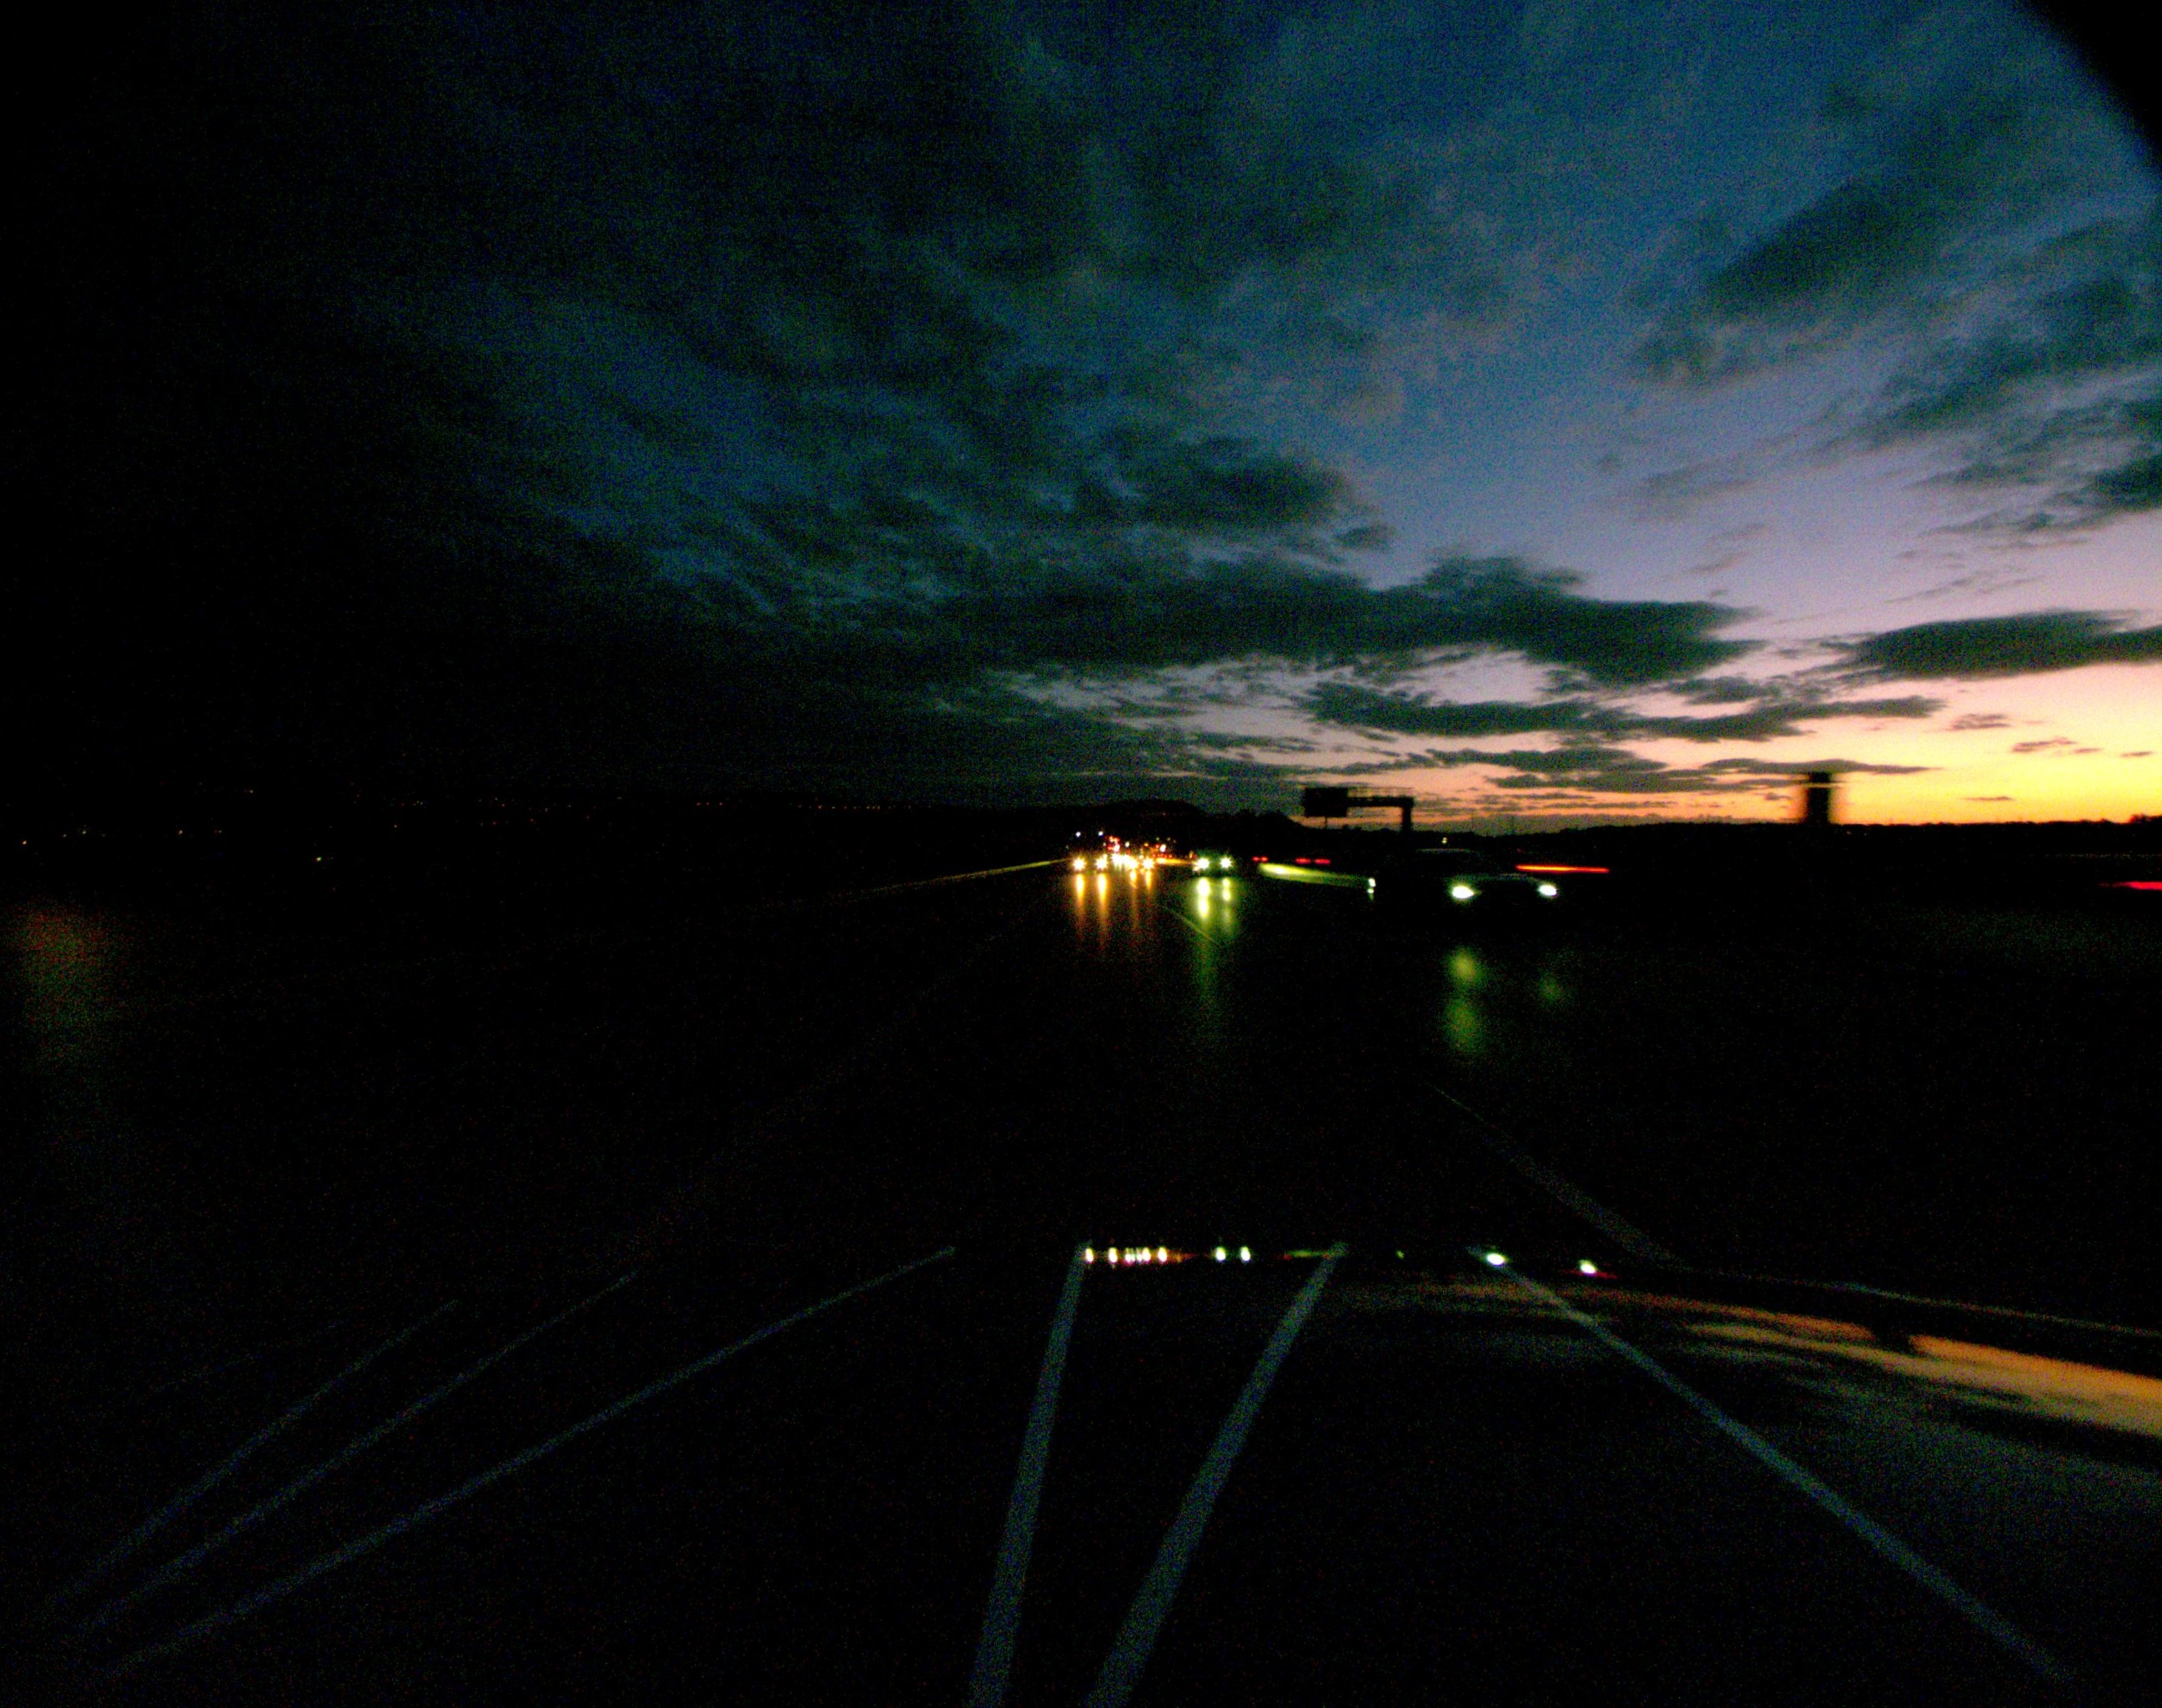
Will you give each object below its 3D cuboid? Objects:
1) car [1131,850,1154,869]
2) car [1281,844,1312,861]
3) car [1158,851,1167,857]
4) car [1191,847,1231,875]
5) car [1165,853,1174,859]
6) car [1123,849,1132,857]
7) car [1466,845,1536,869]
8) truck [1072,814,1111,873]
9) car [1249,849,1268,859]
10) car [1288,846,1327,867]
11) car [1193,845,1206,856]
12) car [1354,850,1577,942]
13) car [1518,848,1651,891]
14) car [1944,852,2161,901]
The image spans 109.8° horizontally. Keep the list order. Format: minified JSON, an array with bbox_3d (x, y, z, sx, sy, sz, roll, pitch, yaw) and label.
[{"bbox_3d":[5.472,0.477,68.191,1.802,1.531,4.159,-2,1,1],"label":"car"},{"bbox_3d":[20.791,-0.181,73.456,1.663,1.514,4.887,-2,1,1],"label":"car"},{"bbox_3d":[20.114,0.105,187.687,1.736,1.362,3.900,-2,1,1],"label":"car"},{"bbox_3d":[8.459,0.426,49.807,1.819,1.638,4.856,-2,1,1],"label":"car"},{"bbox_3d":[23.377,0.628,201.533,1.998,1.404,4.658,-2,1,1],"label":"car"},{"bbox_3d":[11.314,-0.257,185.485,1.862,1.826,4.000,-2,1,1],"label":"car"},{"bbox_3d":[23.051,0.138,41.827,1.670,1.174,3.999,-2,1,1],"label":"car"},{"bbox_3d":[0.967,-0.818,67.180,3.012,4.570,12.578,-2,0,1],"label":"truck"},{"bbox_3d":[25.528,0.052,109.132,1.740,1.312,4.551,-2,1,1],"label":"car"},{"bbox_3d":[16.823,0.142,56.592,1.649,1.445,3.999,-2,1,1],"label":"car"},{"bbox_3d":[26.662,-0.793,170.682,1.998,2.374,5.835,-2,1,1],"label":"car"},{"bbox_3d":[7.391,0.697,15.397,1.819,1.429,5.394,-2,1,1],"label":"car"},{"bbox_3d":[16.092,0.450,24.542,1.670,1.211,3.999,-2,1,1],"label":"car"},{"bbox_3d":[19.626,0.393,14.542,1.245,0.790,4.415,-2,1,1],"label":"car"}]
